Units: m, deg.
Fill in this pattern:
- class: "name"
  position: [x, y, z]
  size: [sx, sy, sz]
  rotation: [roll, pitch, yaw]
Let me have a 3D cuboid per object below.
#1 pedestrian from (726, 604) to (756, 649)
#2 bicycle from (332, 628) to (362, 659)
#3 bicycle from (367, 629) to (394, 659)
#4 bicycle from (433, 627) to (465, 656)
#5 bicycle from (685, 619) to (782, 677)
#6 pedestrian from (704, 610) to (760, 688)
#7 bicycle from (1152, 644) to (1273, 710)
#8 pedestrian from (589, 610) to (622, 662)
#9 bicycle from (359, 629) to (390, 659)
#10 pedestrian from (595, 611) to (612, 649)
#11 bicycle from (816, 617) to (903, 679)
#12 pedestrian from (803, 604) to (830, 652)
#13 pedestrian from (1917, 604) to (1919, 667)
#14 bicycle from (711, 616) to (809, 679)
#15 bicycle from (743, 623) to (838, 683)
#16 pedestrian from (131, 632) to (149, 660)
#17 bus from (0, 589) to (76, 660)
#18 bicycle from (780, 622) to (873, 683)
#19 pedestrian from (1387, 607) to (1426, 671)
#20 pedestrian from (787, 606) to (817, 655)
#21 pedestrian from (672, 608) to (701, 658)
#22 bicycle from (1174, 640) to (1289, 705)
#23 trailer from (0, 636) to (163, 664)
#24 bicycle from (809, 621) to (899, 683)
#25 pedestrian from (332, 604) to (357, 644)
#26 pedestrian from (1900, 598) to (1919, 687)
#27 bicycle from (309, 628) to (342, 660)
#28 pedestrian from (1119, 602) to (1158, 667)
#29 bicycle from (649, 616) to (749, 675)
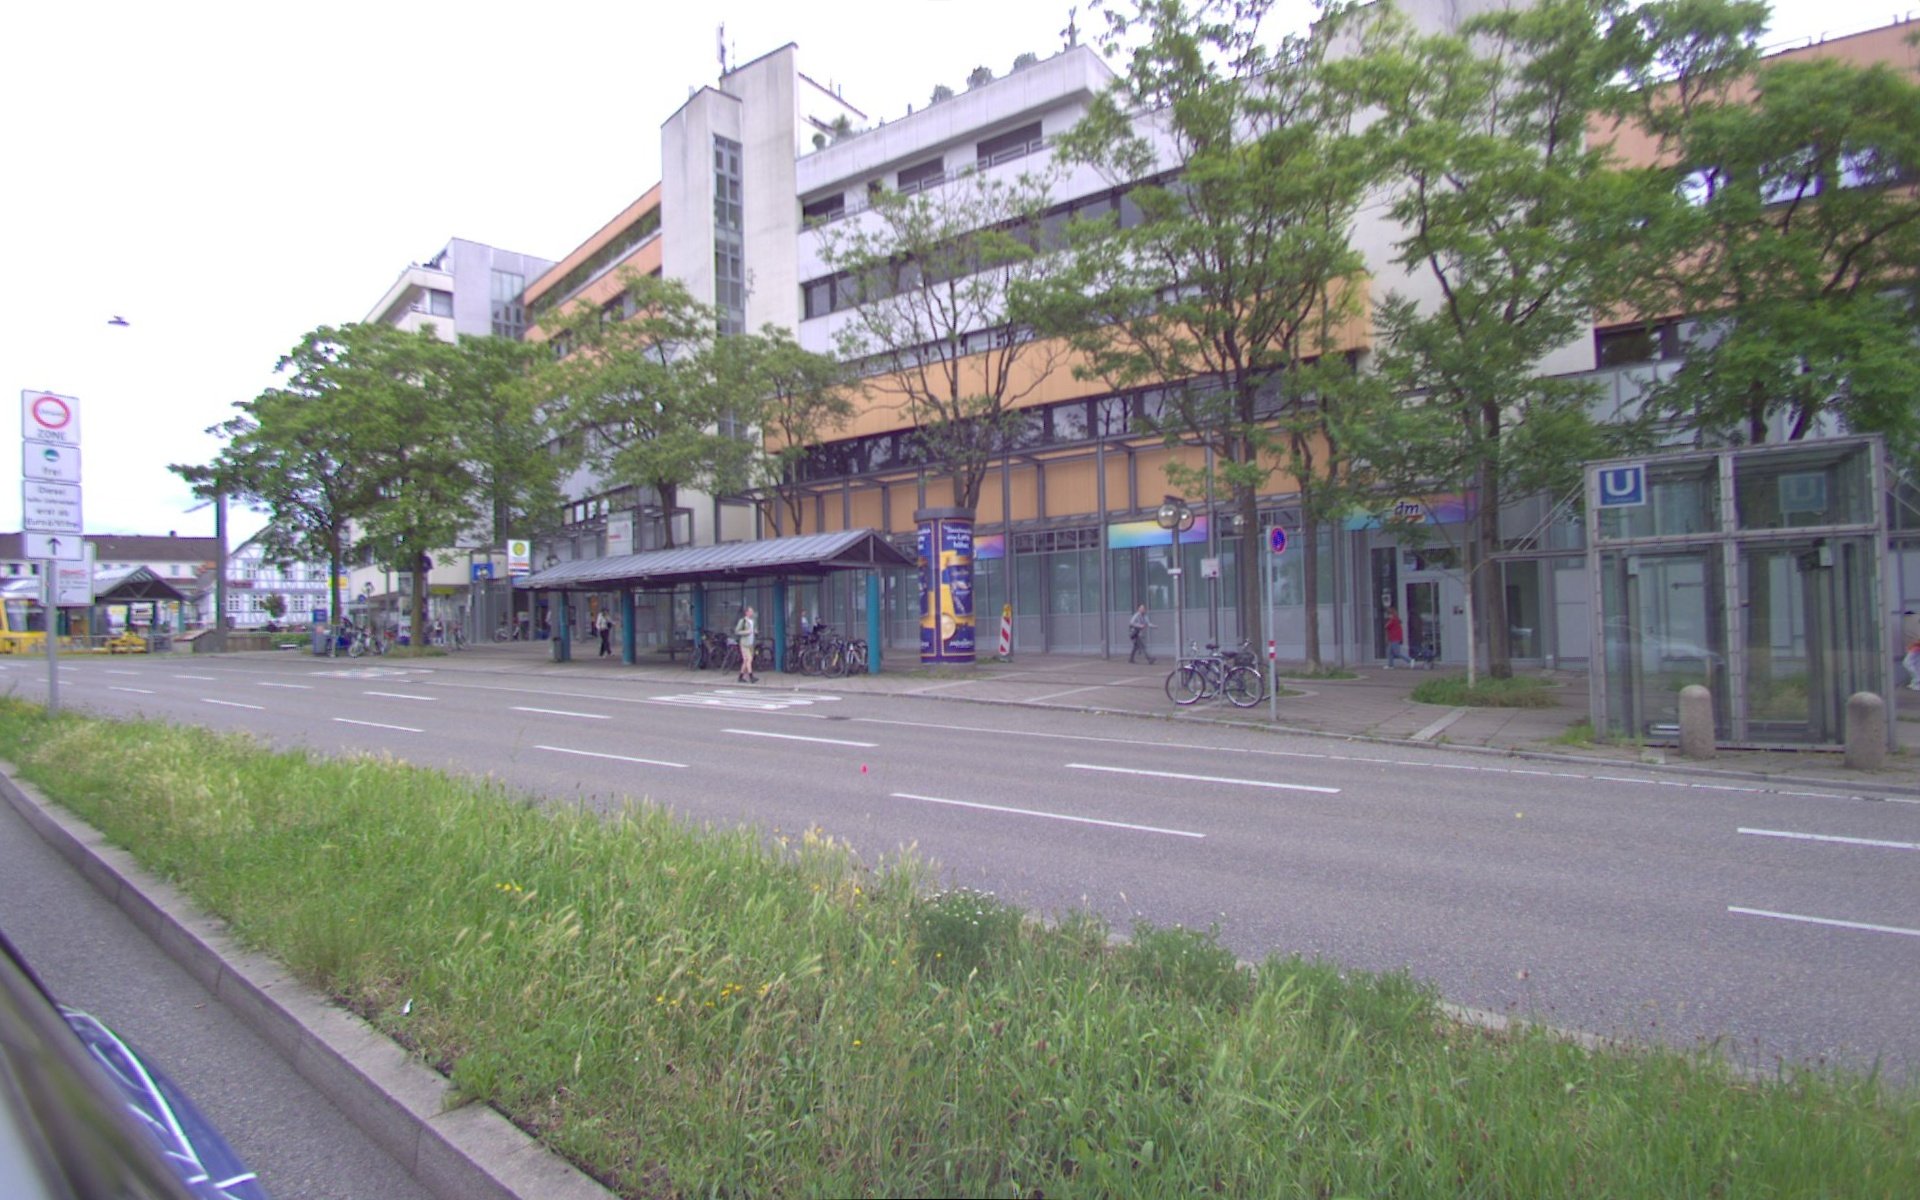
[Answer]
- class: "pedestrian"
  position: [-8.598, 1.046, 39.714]
  size: [0.787, 1.729, 0.764]
  rotation: [-2, 0, 32]
- class: "bicycle"
  position: [-24.164, 1.702, 39.920]
  size: [0.594, 1.170, 1.971]
  rotation: [0, -2, -18]
- class: "bicycle"
  position: [-22.811, 1.724, 39.836]
  size: [0.594, 1.170, 1.695]
  rotation: [0, -2, -19]
- class: "bicycle"
  position: [-21.486, 1.742, 42.592]
  size: [0.663, 1.170, 2.023]
  rotation: [-1, -2, -11]
- class: "bicycle"
  position: [-6.226, 1.289, 28.027]
  size: [0.888, 1.518, 2.876]
  rotation: [-2, -2, 32]
- class: "pedestrian"
  position: [-5.577, 1.171, 24.769]
  size: [1.212, 1.836, 0.697]
  rotation: [-1, 1, 37]
- class: "bicycle"
  position: [4.437, 1.332, 17.817]
  size: [1.926, 1.092, 0.825]
  rotation: [-2, -2, 27]
- class: "pedestrian"
  position: [-12.268, 1.234, 35.013]
  size: [0.705, 1.725, 0.768]
  rotation: [-2, 0, 35]
- class: "bicycle"
  position: [-23.724, 1.784, 40.985]
  size: [1.966, 1.170, 0.596]
  rotation: [-3, -3, 44]
- class: "pedestrian"
  position: [-15.444, 1.279, 43.881]
  size: [0.624, 1.612, 0.624]
  rotation: [-2, 0, -15]
- class: "bicycle"
  position: [-2.561, 1.213, 26.130]
  size: [0.597, 1.518, 2.876]
  rotation: [-2, -2, 32]
- class: "pedestrian"
  position: [-4.958, 0.959, 34.976]
  size: [0.621, 1.612, 0.627]
  rotation: [-2, 0, 35]
- class: "pedestrian"
  position: [18.938, 0.861, 19.424]
  size: [0.678, 1.601, 0.513]
  rotation: [-2, -2, 32]
- class: "bicycle"
  position: [-5.394, 1.246, 27.505]
  size: [0.809, 1.518, 2.876]
  rotation: [-2, 0, 33]
- class: "bicycle"
  position: [-4.458, 1.372, 26.888]
  size: [0.803, 1.518, 2.876]
  rotation: [-2, -2, 32]
- class: "pedestrian"
  position: [-47.158, 2.659, 58.218]
  size: [0.618, 1.585, 0.594]
  rotation: [-2, -2, 30]
- class: "bus"
  position: [-60.507, 1.674, 61.519]
  size: [19.255, 3.889, 3.851]
  rotation: [-2, -2, 29]
- class: "bicycle"
  position: [-3.459, 1.338, 26.616]
  size: [0.776, 1.518, 2.876]
  rotation: [-2, -2, 32]
- class: "pedestrian"
  position: [11.297, 0.975, 25.616]
  size: [0.822, 1.598, 0.629]
  rotation: [-1, -2, 31]
- class: "pedestrian"
  position: [-5.355, 1.030, 34.360]
  size: [0.705, 1.595, 0.660]
  rotation: [-2, 0, 35]
- class: "pedestrian"
  position: [-9.753, 1.160, 36.078]
  size: [0.763, 1.729, 0.789]
  rotation: [-2, 0, -32]
- class: "bicycle"
  position: [5.025, 1.329, 18.750]
  size: [1.946, 1.145, 0.709]
  rotation: [-2, -2, 26]
- class: "trailer"
  position: [-46.813, 2.673, 53.593]
  size: [12.072, 1.343, 2.822]
  rotation: [-2, -2, 29]
- class: "bicycle"
  position: [-2.710, 1.313, 26.223]
  size: [0.698, 1.518, 2.876]
  rotation: [-2, -2, 32]
- class: "pedestrian"
  position: [-29.405, 1.137, 48.342]
  size: [0.871, 1.891, 0.738]
  rotation: [-2, -2, 32]
- class: "pedestrian"
  position: [19.185, 0.833, 20.043]
  size: [0.678, 1.740, 0.560]
  rotation: [-2, -2, 32]
- class: "bicycle"
  position: [-25.038, 1.733, 39.961]
  size: [0.594, 1.170, 1.971]
  rotation: [-2, 0, -17]
- class: "pedestrian"
  position: [4.913, 0.951, 27.852]
  size: [0.787, 1.729, 0.764]
  rotation: [-2, 0, 32]
- class: "bicycle"
  position: [-7.380, 1.248, 28.812]
  size: [0.969, 1.518, 2.877]
  rotation: [-2, 0, 32]
